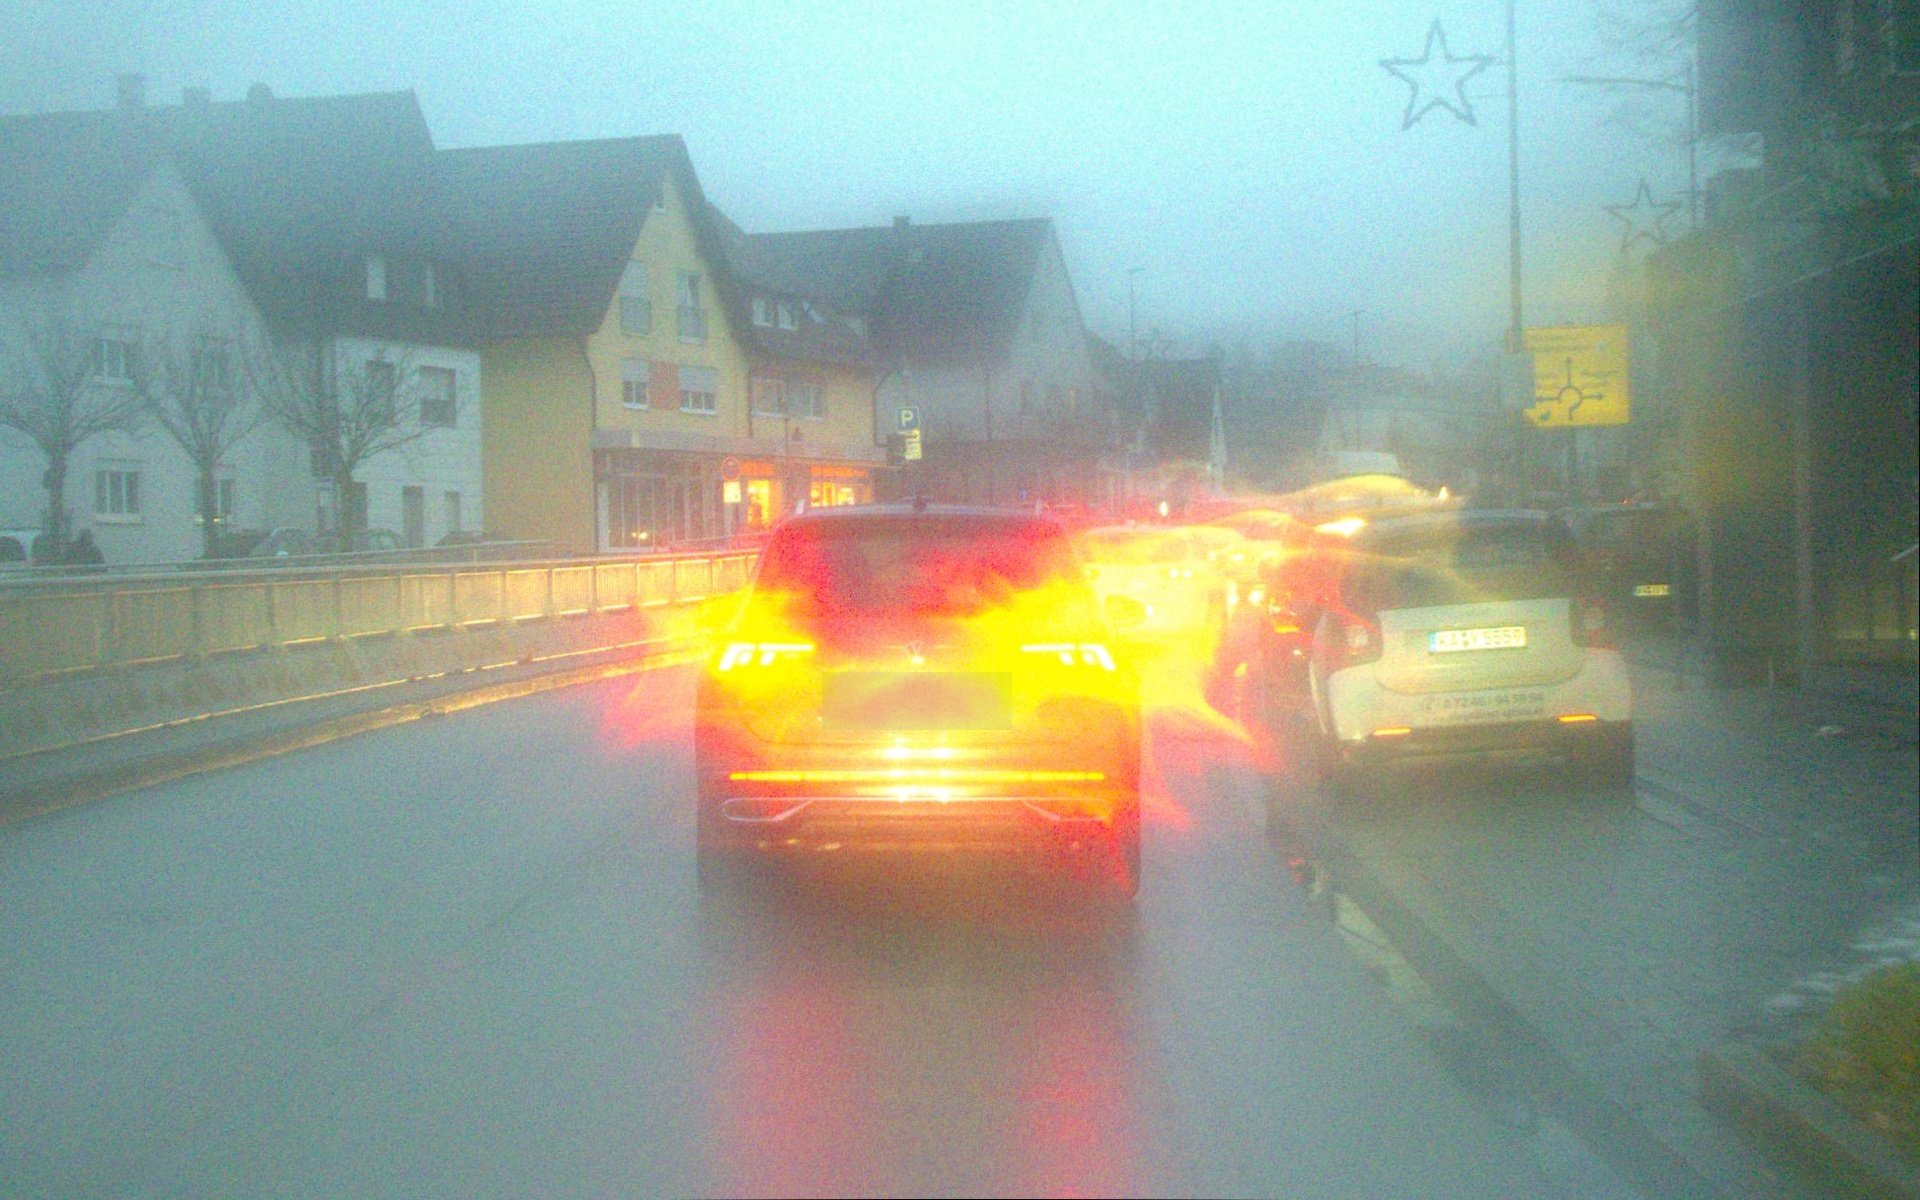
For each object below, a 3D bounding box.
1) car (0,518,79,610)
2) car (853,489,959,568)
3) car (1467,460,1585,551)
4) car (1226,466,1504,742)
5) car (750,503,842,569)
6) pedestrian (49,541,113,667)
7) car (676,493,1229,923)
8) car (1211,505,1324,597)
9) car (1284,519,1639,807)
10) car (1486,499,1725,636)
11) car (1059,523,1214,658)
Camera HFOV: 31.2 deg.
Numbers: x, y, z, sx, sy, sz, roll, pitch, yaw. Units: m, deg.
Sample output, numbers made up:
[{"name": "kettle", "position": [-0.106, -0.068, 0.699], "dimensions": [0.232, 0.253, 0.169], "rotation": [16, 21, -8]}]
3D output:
[{"name": "car", "position": [-19.144, -0.640, 65.733], "dimensions": [3.988, 1.688, 1.864], "rotation": [-2, 2, 9]}, {"name": "car", "position": [-1.409, -1.855, 87.975], "dimensions": [2.037, 1.919, 4.058], "rotation": [-2, 2, -10]}, {"name": "car", "position": [13.798, -2.310, 83.636], "dimensions": [2.159, 1.984, 4.496], "rotation": [-4, 1, 17]}, {"name": "car", "position": [2.985, -0.028, 25.377], "dimensions": [1.770, 1.776, 3.999], "rotation": [-4, 1, 7]}, {"name": "car", "position": [-4.251, -1.680, 88.643], "dimensions": [1.821, 1.607, 4.058], "rotation": [-2, 2, -10]}, {"name": "pedestrian", "position": [-11.990, 0.048, 46.910], "dimensions": [0.664, 1.692, 0.541], "rotation": [0, 2, 13]}, {"name": "car", "position": [-0.196, 0.341, 15.276], "dimensions": [1.964, 1.589, 4.314], "rotation": [0, 2, -7]}, {"name": "car", "position": [5.132, -0.848, 57.532], "dimensions": [1.814, 1.407, 4.000], "rotation": [0, 2, 5]}, {"name": "car", "position": [2.785, 0.304, 19.573], "dimensions": [1.645, 1.410, 2.727], "rotation": [-3, 2, 2]}, {"name": "car", "position": [7.289, -0.394, 39.158], "dimensions": [1.765, 1.389, 3.915], "rotation": [-3, 1, -3]}, {"name": "car", "position": [2.036, -0.147, 39.910], "dimensions": [1.682, 1.448, 4.000], "rotation": [1, 1, 3]}]
